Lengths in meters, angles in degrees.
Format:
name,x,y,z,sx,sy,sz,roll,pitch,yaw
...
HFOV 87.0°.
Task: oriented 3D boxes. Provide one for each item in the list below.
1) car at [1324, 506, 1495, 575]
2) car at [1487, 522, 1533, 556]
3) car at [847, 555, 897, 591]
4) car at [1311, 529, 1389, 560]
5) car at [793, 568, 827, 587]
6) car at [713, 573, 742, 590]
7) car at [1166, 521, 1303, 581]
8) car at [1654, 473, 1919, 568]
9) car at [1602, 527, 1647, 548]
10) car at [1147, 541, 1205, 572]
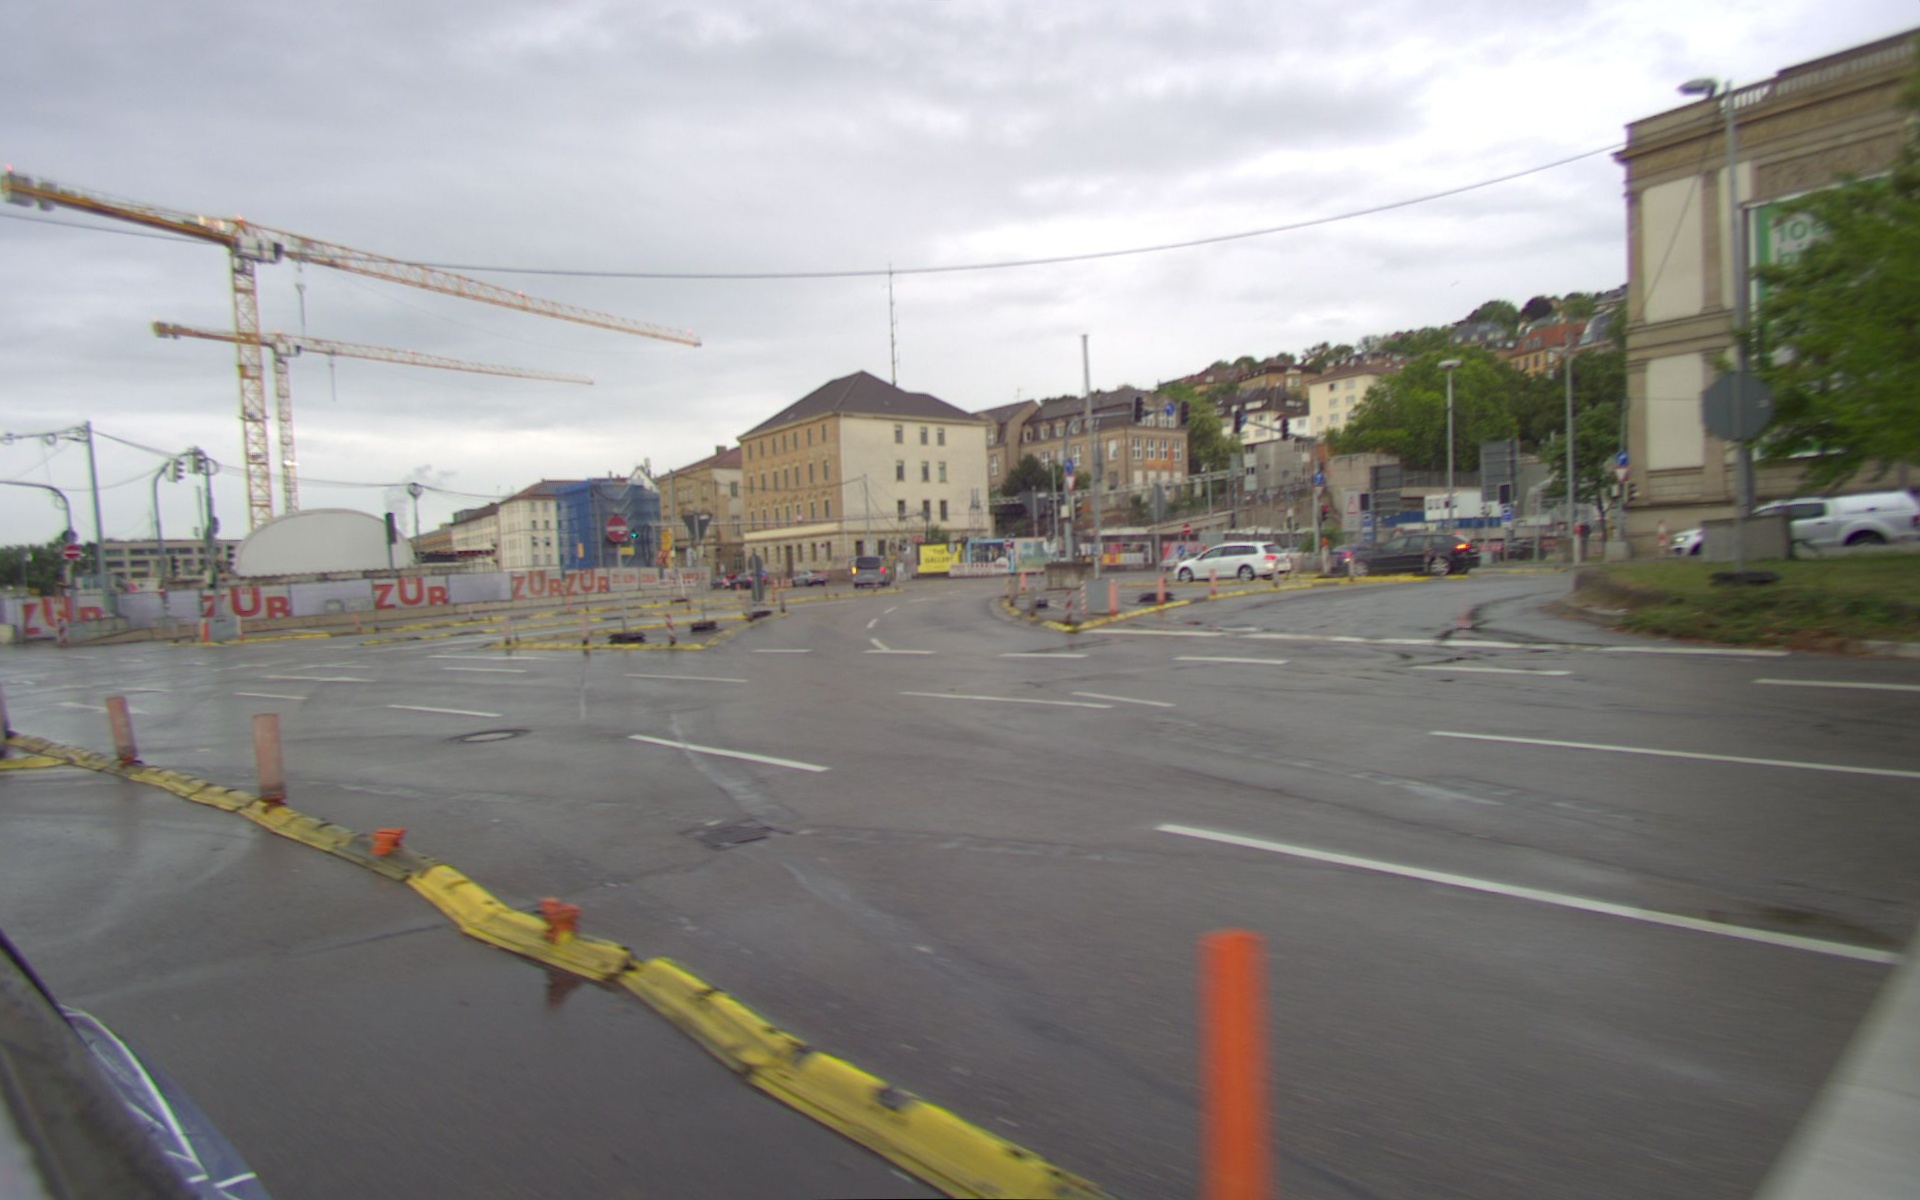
name,x,y,z,sx,sy,sz,roll,pitch,yaw
car,14.623,-1.916,33.120,1.970,2.028,4.698,-7,6,-40
car,38.771,-4.317,71.353,1.999,2.027,3.947,1,7,41
car,-5.179,-1.651,60.195,1.976,1.852,4.675,-2,4,7
car,22.501,-3.214,58.368,3.932,1.448,2.007,-6,4,-25
car,-13.052,-1.969,87.843,1.556,1.356,3.819,-5,6,-29
car,-23.575,-1.934,102.634,1.624,1.474,3.425,-6,6,-34
car,10.266,-1.839,38.138,1.970,2.028,4.649,-7,6,-40
car,21.975,-2.080,26.958,5.673,2.189,2.343,0,6,37
car,61.322,-5.782,93.409,3.933,1.645,2.006,-6,6,-31
car,16.260,-3.299,76.055,3.934,2.028,2.006,-6,5,-33
